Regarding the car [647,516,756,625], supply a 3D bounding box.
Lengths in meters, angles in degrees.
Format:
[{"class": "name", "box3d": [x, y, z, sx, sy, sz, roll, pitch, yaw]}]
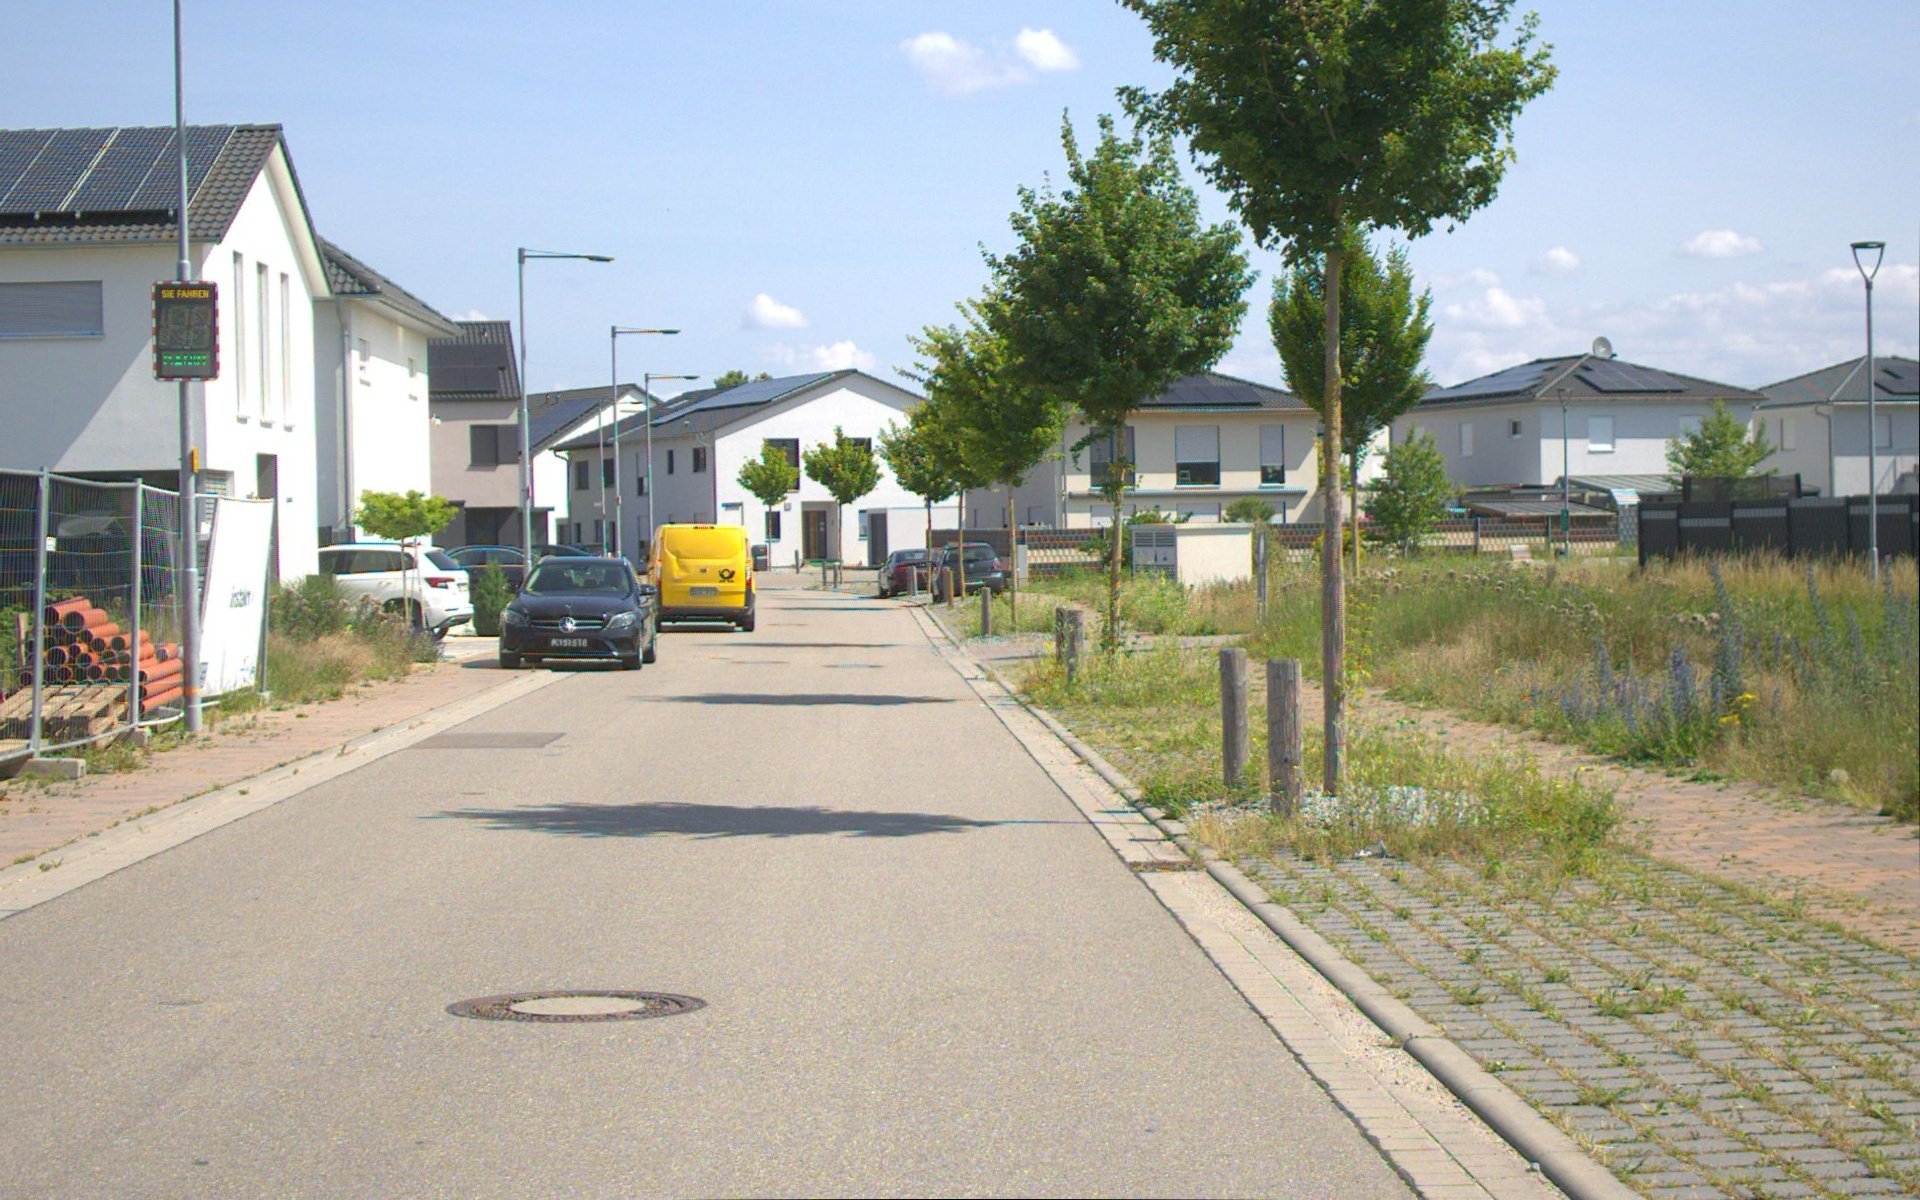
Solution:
[{"class": "car", "box3d": [-4.928, -0.548, 65.108, 1.941, 1.975, 4.218, -1, 0, -5]}]

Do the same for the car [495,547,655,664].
[{"class": "car", "box3d": [-4.983, 0.034, 44.960, 1.745, 1.400, 4.160, 1, 1, -2]}]

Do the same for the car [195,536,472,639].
[{"class": "car", "box3d": [-10.053, -0.217, 55.357, 4.069, 1.576, 1.784, 1, 2, 4]}]

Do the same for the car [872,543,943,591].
[{"class": "car", "box3d": [-1.605, -0.989, 103.875, 1.627, 1.318, 3.834, -1, -1, -8]}]

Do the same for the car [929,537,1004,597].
[{"class": "car", "box3d": [0.143, -0.805, 85.293, 1.639, 1.398, 3.811, -1, 0, -3]}]
